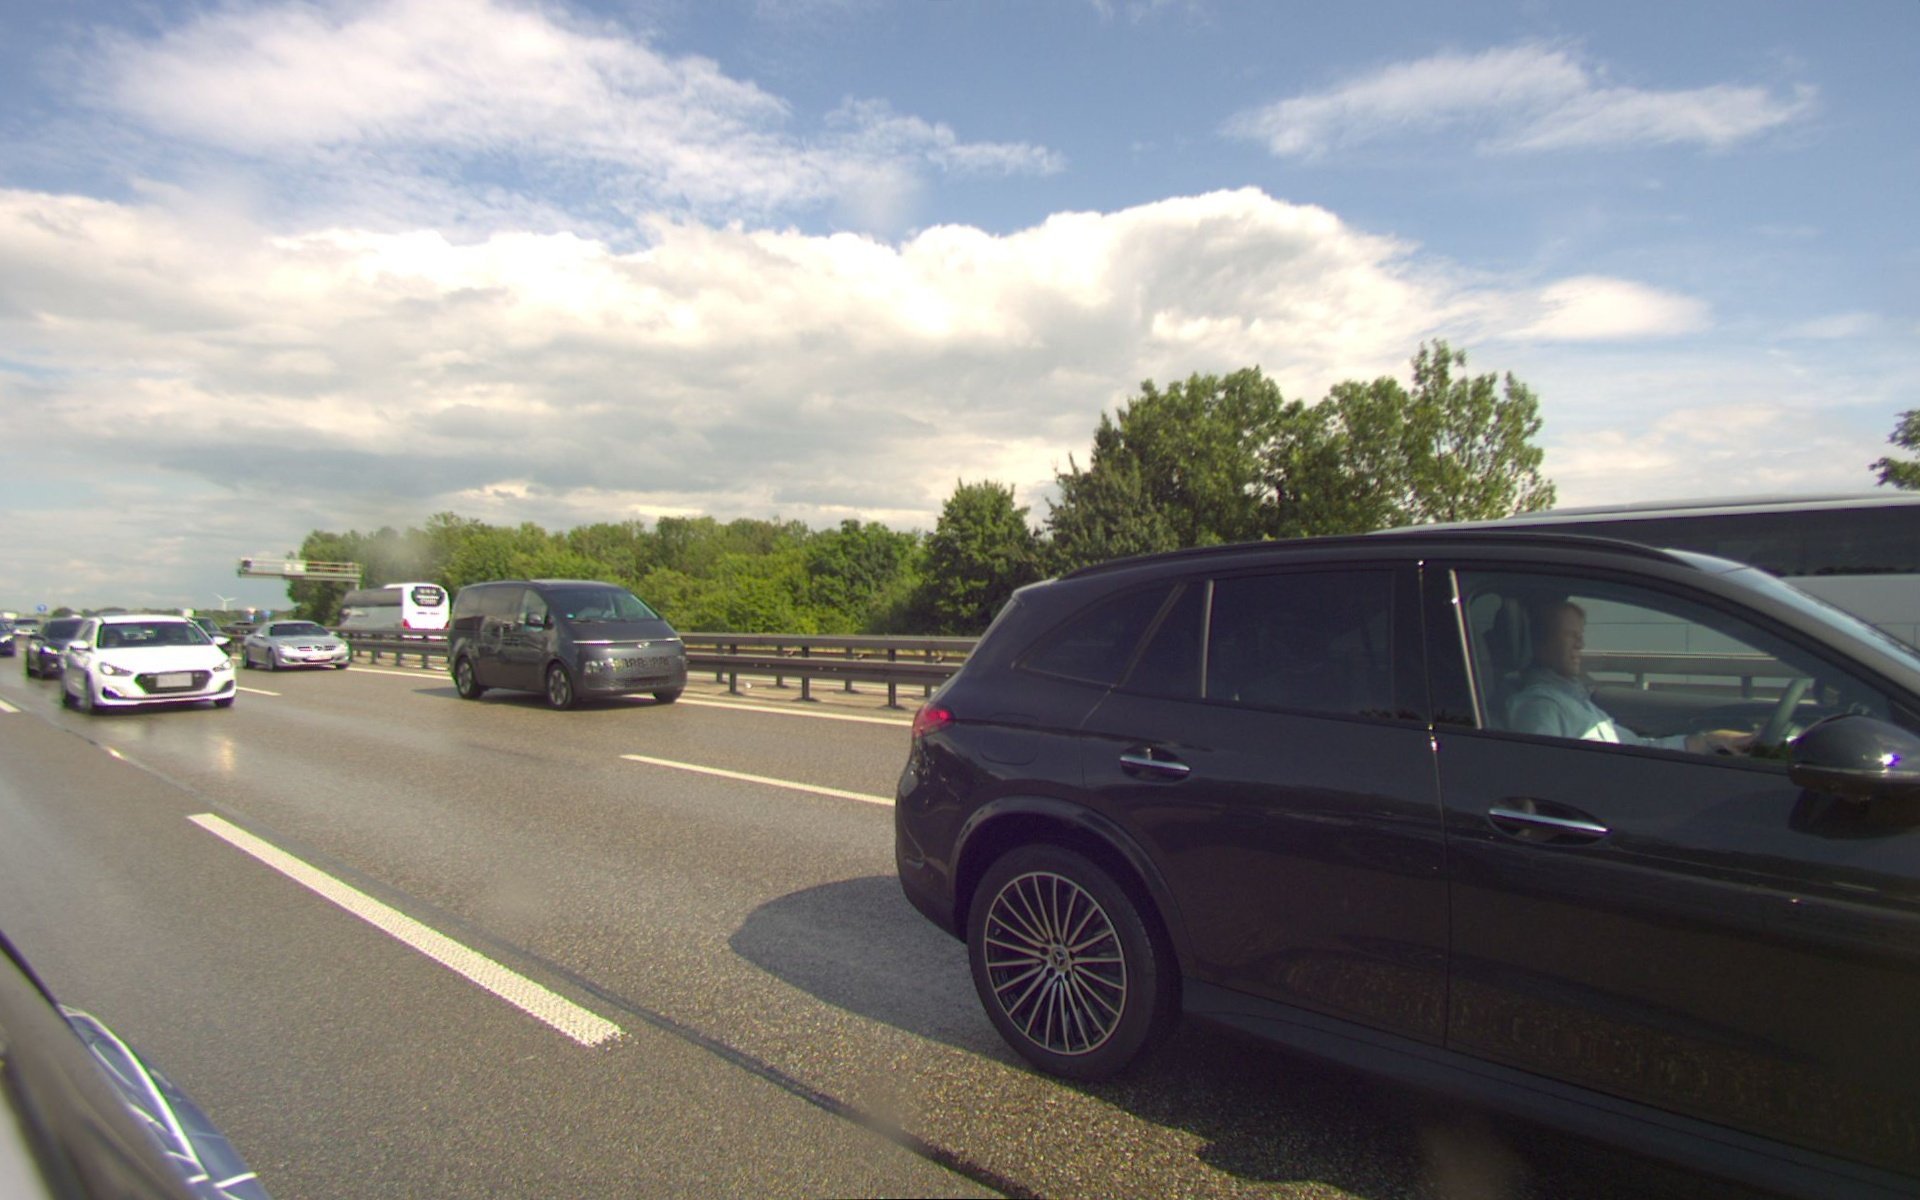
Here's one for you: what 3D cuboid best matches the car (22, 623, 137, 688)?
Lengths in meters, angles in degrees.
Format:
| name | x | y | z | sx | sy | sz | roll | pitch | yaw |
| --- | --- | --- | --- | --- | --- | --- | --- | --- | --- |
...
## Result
| name | x | y | z | sx | sy | sz | roll | pitch | yaw |
| --- | --- | --- | --- | --- | --- | --- | --- | --- | --- |
| car | -21.098 | 1.270 | 24.195 | 3.998 | 1.409 | 1.576 | -1 | -1 | 42 |

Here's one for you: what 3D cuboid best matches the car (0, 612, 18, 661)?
| name | x | y | z | sx | sy | sz | roll | pitch | yaw |
| --- | --- | --- | --- | --- | --- | --- | --- | --- | --- |
| car | -35.988 | 1.317 | 37.001 | 3.998 | 1.730 | 1.865 | -1 | -1 | 41 |

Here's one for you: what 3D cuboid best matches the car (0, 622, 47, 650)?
| name | x | y | z | sx | sy | sz | roll | pitch | yaw |
| --- | --- | --- | --- | --- | --- | --- | --- | --- | --- |
| car | -62.263 | 2.350 | 67.240 | 3.998 | 1.763 | 1.876 | -1 | -1 | 41 |

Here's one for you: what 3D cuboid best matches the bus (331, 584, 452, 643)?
| name | x | y | z | sx | sy | sz | roll | pitch | yaw |
| --- | --- | --- | --- | --- | --- | --- | --- | --- | --- |
| bus | -35.841 | 0.882 | 63.468 | 12.468 | 3.399 | 2.860 | -1 | -1 | 42 |

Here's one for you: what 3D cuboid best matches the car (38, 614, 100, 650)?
| name | x | y | z | sx | sy | sz | roll | pitch | yaw |
| --- | --- | --- | --- | --- | --- | --- | --- | --- | --- |
| car | -45.632 | 1.610 | 51.799 | 3.998 | 1.763 | 1.876 | -1 | -1 | 41 |

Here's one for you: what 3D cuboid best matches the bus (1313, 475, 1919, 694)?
| name | x | y | z | sx | sy | sz | roll | pitch | yaw |
| --- | --- | --- | --- | --- | --- | --- | --- | --- | --- |
| bus | 13.055 | -0.188 | 18.615 | 12.207 | 3.311 | 2.908 | -1 | -1 | 42 |

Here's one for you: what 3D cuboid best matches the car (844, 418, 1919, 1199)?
| name | x | y | z | sx | sy | sz | roll | pitch | yaw |
| --- | --- | --- | --- | --- | --- | --- | --- | --- | --- |
| car | 1.926 | 0.533 | 2.819 | 4.624 | 1.692 | 1.857 | -1 | -1 | 41 |

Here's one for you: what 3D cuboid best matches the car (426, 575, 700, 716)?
| name | x | y | z | sx | sy | sz | roll | pitch | yaw |
| --- | --- | --- | --- | --- | --- | --- | --- | --- | --- |
| car | -6.526 | 0.660 | 16.287 | 5.234 | 1.932 | 1.972 | -1 | -1 | 42 |

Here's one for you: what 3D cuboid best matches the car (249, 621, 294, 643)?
| name | x | y | z | sx | sy | sz | roll | pitch | yaw |
| --- | --- | --- | --- | --- | --- | --- | --- | --- | --- |
| car | -43.293 | 1.978 | 63.618 | 3.524 | 1.320 | 1.632 | -1 | -1 | 44 |

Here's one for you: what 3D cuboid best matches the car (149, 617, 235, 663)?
| name | x | y | z | sx | sy | sz | roll | pitch | yaw |
| --- | --- | --- | --- | --- | --- | --- | --- | --- | --- |
| car | -25.847 | 1.306 | 34.016 | 3.999 | 1.431 | 1.597 | -1 | -1 | 42 |

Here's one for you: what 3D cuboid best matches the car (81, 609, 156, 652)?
| name | x | y | z | sx | sy | sz | roll | pitch | yaw |
| --- | --- | --- | --- | --- | --- | --- | --- | --- | --- |
| car | -36.164 | 1.284 | 43.464 | 3.998 | 1.763 | 1.876 | -1 | -1 | 41 |

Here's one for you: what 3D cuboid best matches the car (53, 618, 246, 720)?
| name | x | y | z | sx | sy | sz | roll | pitch | yaw |
| --- | --- | --- | --- | --- | --- | --- | --- | --- | --- |
| car | -12.933 | 0.996 | 16.059 | 4.240 | 1.408 | 1.785 | -1 | -2 | 43 |

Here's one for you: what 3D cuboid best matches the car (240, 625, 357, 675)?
| name | x | y | z | sx | sy | sz | roll | pitch | yaw |
| --- | --- | --- | --- | --- | --- | --- | --- | --- | --- |
| car | -17.438 | 1.264 | 26.612 | 3.584 | 1.198 | 1.832 | -1 | -1 | 44 |
